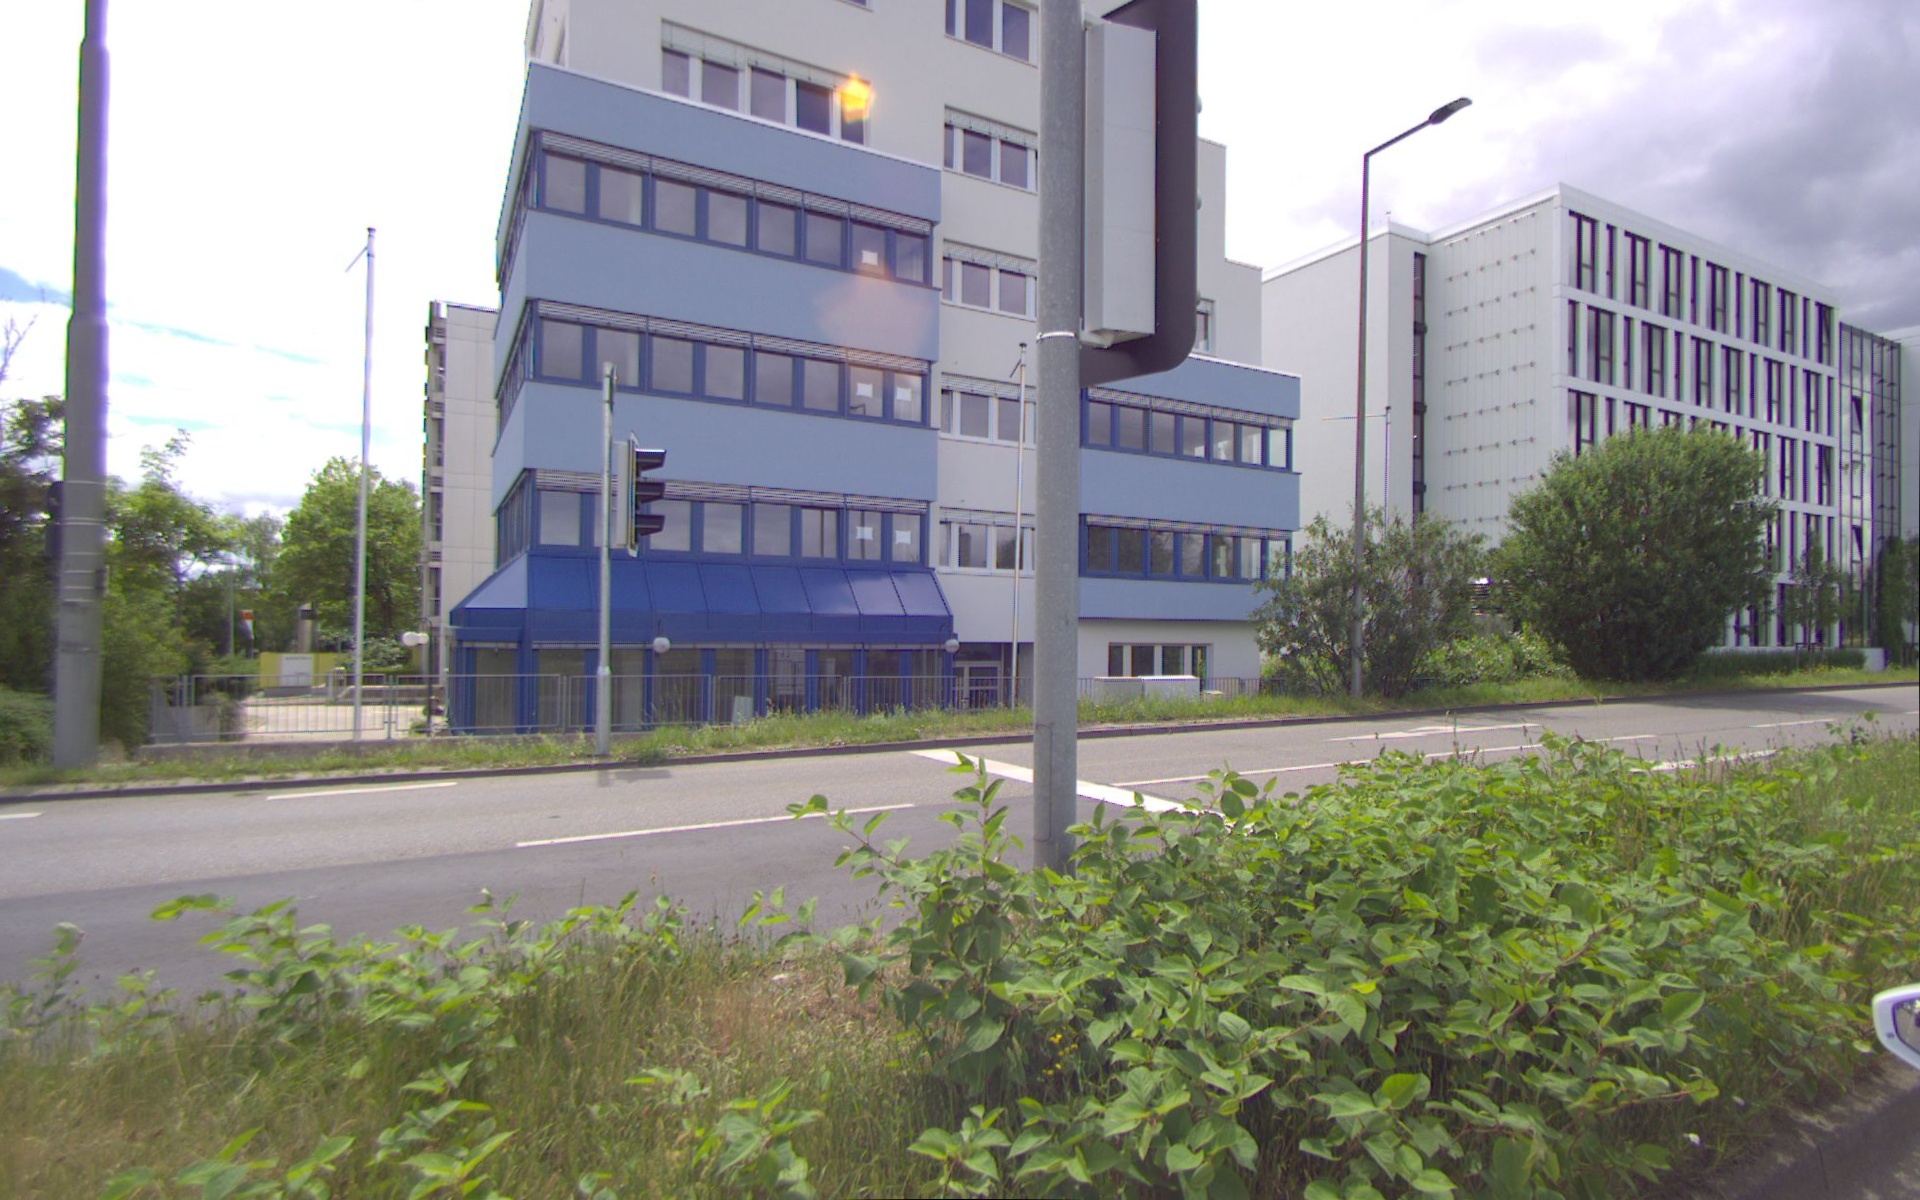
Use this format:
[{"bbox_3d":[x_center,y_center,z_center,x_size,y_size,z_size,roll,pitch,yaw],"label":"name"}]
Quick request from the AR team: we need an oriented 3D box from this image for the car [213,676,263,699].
[{"bbox_3d":[-45.120,5.488,62.878,1.974,1.347,3.631,1,-5,-27],"label":"car"}]
